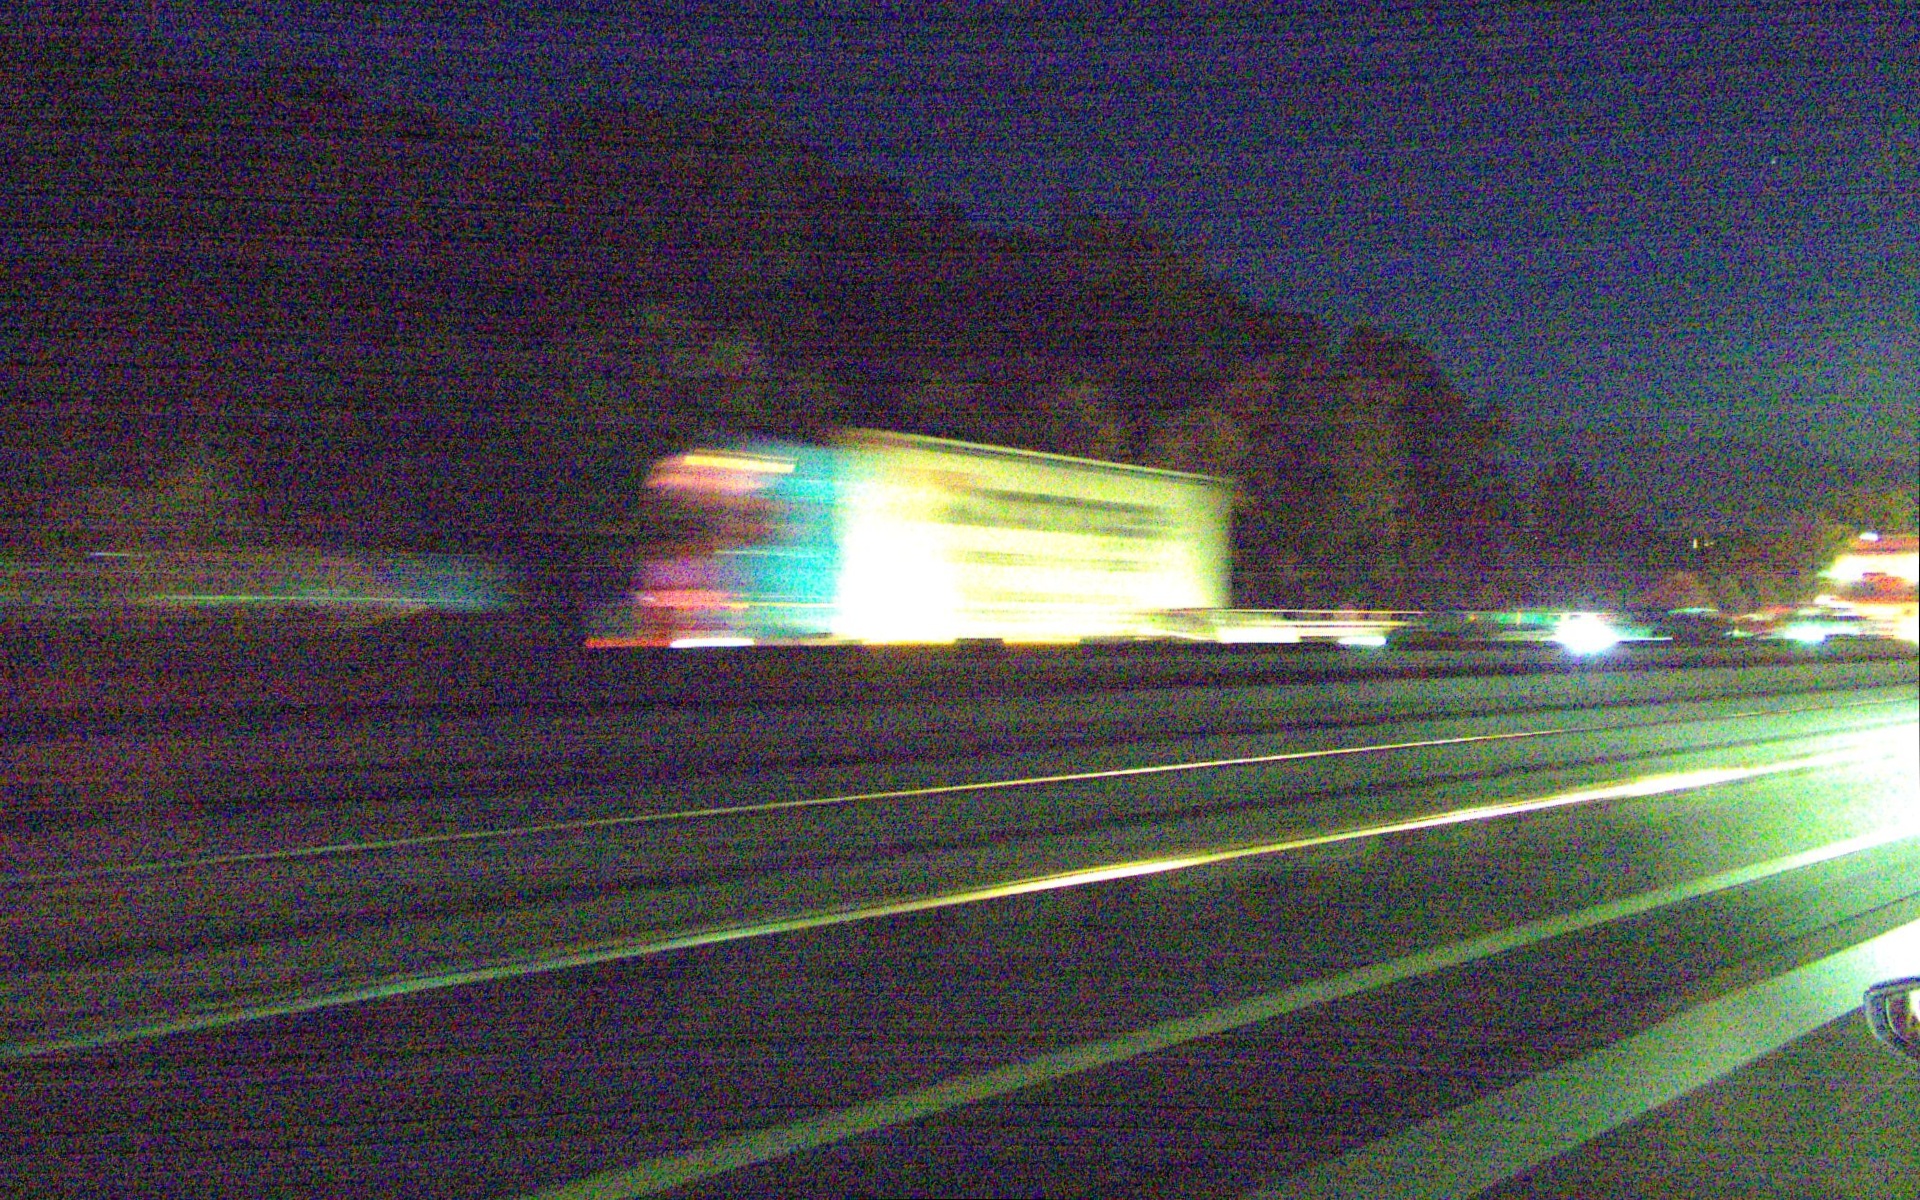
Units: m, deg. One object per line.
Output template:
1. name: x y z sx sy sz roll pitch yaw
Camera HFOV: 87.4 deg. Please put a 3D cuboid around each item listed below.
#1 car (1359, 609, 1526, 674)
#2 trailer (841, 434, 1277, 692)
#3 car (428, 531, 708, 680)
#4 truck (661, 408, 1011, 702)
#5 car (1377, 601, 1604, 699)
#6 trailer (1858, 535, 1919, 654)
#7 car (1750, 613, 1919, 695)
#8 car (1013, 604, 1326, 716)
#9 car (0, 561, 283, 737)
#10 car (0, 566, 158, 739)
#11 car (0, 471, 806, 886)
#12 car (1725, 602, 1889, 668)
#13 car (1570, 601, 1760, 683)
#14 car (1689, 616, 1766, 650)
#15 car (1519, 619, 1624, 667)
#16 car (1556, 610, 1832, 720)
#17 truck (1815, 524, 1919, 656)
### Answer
1. car: 12.177 1.014 25.270 4.458 1.509 1.534 1 0 -30
2. trailer: 2.195 -0.516 19.188 8.654 3.969 2.801 1 -1 -36
3. car: -7.115 0.128 18.369 4.464 2.431 1.982 1 0 -33
4. truck: -1.942 -0.574 16.168 4.887 3.968 2.809 1 -1 -36
5. car: 10.655 0.935 20.075 4.696 1.759 1.936 1 0 -32
6. trailer: 38.617 0.043 38.673 12.326 4.143 3.070 2 3 -35
7. car: 18.878 1.091 21.300 4.459 1.574 1.825 1 0 -30
8. car: 3.238 0.830 15.228 4.599 1.462 1.936 1 0 -32
9. car: -8.070 0.376 8.380 3.957 1.368 1.619 1 0 -33
10. car: -11.671 0.537 10.943 4.267 1.834 1.985 1 0 -29
11. car: -3.882 0.362 6.169 5.537 1.948 1.867 0 1 -30
12. car: 25.299 1.022 29.955 5.420 1.834 1.984 1 0 -30
13. car: 17.234 0.979 24.527 4.691 1.834 1.985 1 0 -30
14. car: 35.527 1.509 46.477 3.732 1.496 1.644 1 0 -32
15. car: 21.985 1.504 36.070 4.458 1.617 1.210 1 -1 -30
16. car: 11.453 0.930 15.593 4.599 1.462 1.902 1 0 -32
17. truck: 32.624 -0.238 34.413 7.004 4.152 3.088 2 3 -34
